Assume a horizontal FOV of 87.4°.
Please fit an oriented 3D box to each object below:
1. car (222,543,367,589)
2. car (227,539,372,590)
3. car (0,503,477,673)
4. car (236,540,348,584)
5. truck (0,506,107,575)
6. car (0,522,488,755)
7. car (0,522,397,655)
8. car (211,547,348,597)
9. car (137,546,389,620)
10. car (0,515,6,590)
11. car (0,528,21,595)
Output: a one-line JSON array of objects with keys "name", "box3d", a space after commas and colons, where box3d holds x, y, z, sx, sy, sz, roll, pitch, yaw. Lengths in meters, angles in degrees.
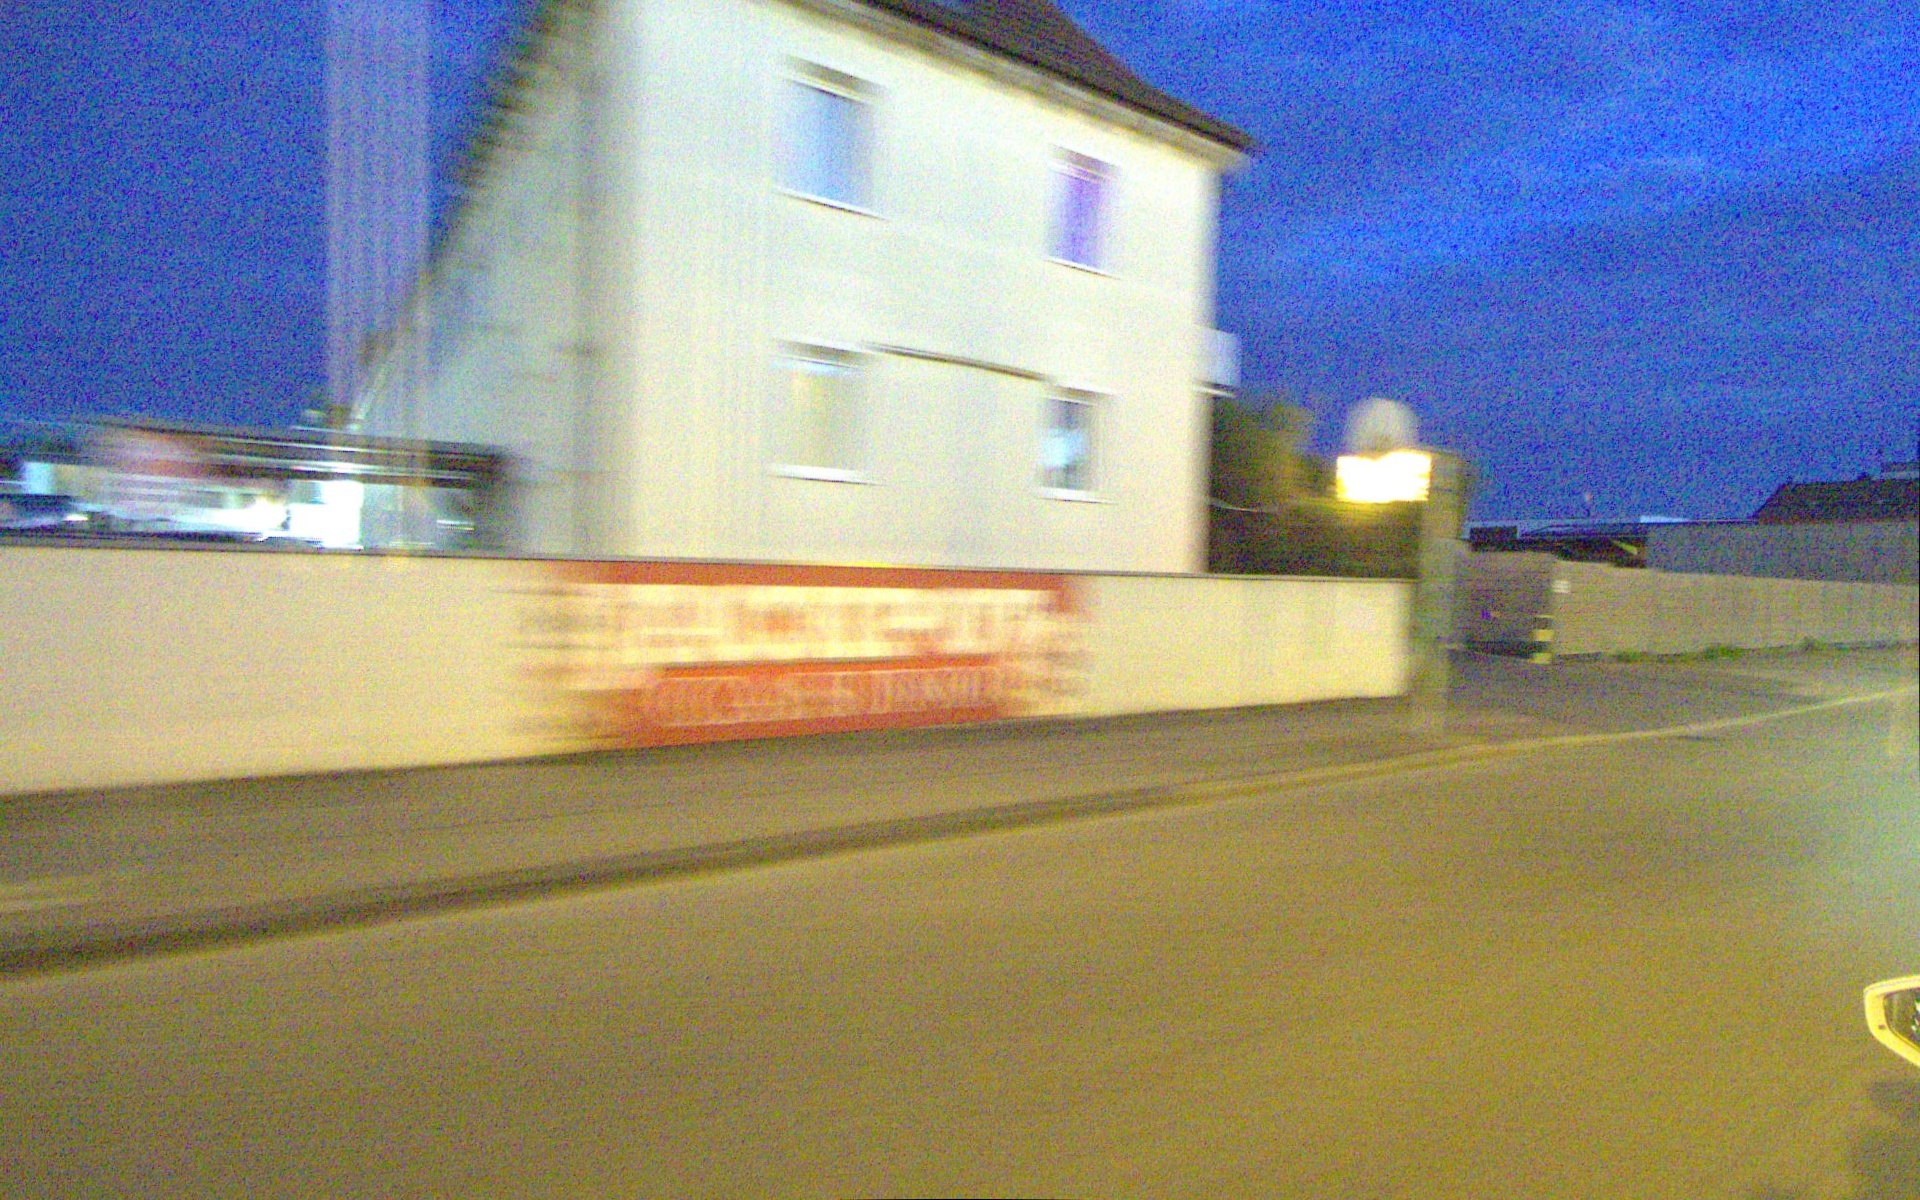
[{"name": "car", "box3d": [-23.437, -1.186, 35.437, 4.113, 1.473, 1.820, 0, 2, -39]}, {"name": "car", "box3d": [-24.769, -1.286, 37.730, 4.389, 1.707, 1.954, 1, 0, -40]}, {"name": "car", "box3d": [-7.858, -0.128, 10.813, 4.492, 1.514, 1.812, 0, 2, -41]}, {"name": "car", "box3d": [-29.678, -1.640, 44.639, 3.967, 1.740, 1.954, 1, 0, -40]}, {"name": "truck", "box3d": [-37.452, -2.397, 40.436, 4.478, 2.574, 1.981, 1, 2, -35]}, {"name": "car", "box3d": [-6.281, 0.225, 7.708, 4.496, 1.514, 1.810, 0, 2, -43]}, {"name": "car", "box3d": [-10.634, -0.137, 13.820, 4.905, 1.602, 1.816, 1, 2, -35]}, {"name": "car", "box3d": [-21.767, -0.880, 32.198, 3.528, 1.514, 1.605, 0, 2, -39]}, {"name": "car", "box3d": [-15.515, -0.361, 22.496, 4.492, 1.514, 1.812, 0, 2, -41]}, {"name": "car", "box3d": [-30.915, -1.478, 28.909, 4.743, 2.275, 1.868, 1, 0, -35]}, {"name": "car", "box3d": [-32.314, -1.259, 30.909, 4.743, 2.079, 1.868, 1, 0, -35]}]
